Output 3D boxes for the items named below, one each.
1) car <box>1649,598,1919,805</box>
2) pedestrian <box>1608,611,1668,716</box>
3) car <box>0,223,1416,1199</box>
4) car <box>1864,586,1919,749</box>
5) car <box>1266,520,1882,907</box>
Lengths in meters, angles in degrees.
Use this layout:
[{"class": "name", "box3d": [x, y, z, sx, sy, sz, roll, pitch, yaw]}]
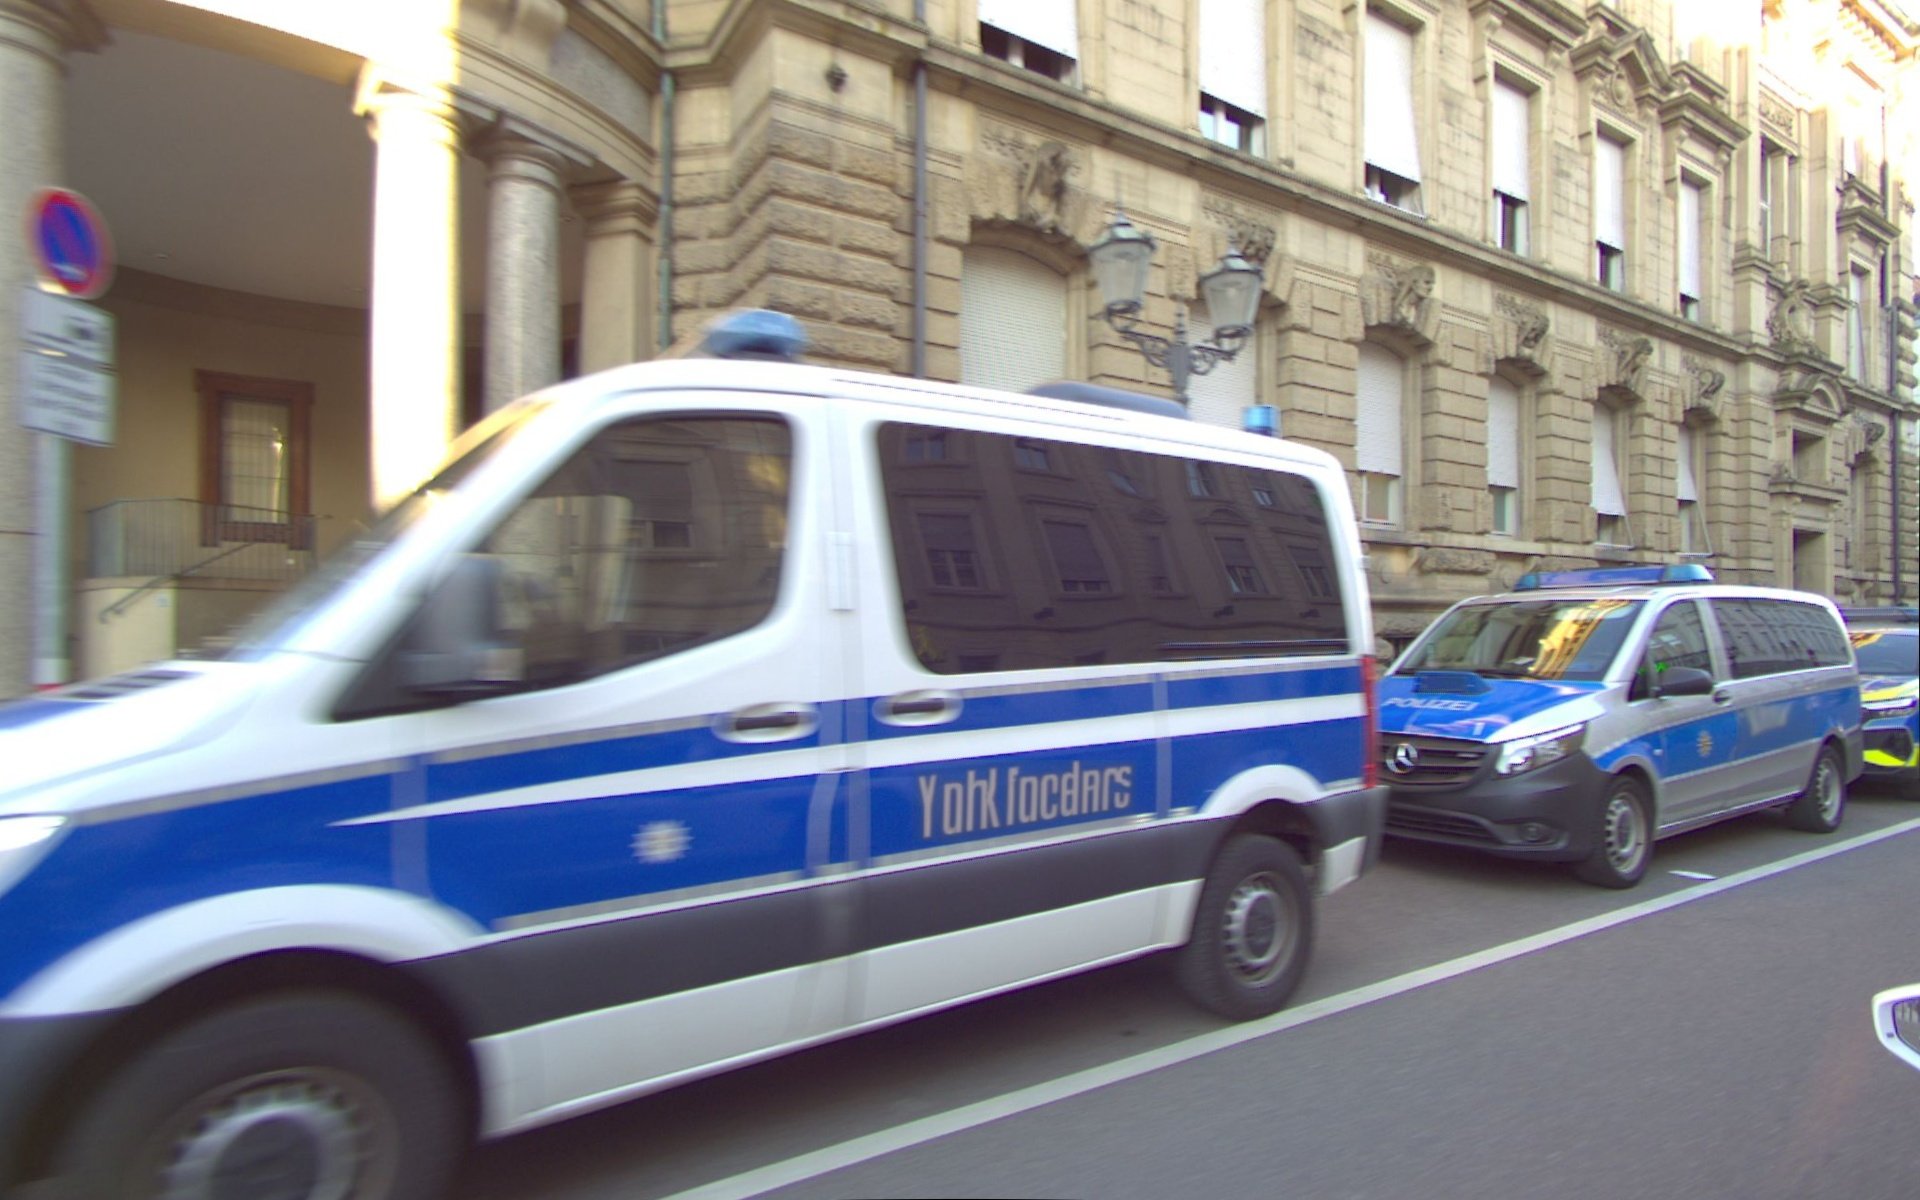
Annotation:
[{"class": "car", "box3d": [9.716, 0.957, 10.832, 4.935, 1.775, 1.983, 2, -2, -32]}, {"class": "pedestrian", "box3d": [11.537, 1.064, 17.097, 0.695, 1.753, 0.604, 1, -1, -31]}, {"class": "car", "box3d": [-0.584, 0.463, 3.893, 5.155, 2.200, 1.980, 1, -1, -35]}, {"class": "car", "box3d": [14.690, 0.927, 14.041, 4.940, 2.104, 1.981, 2, -2, -35]}, {"class": "car", "box3d": [4.881, 0.703, 7.733, 5.150, 2.115, 1.983, 2, -2, -32]}]
